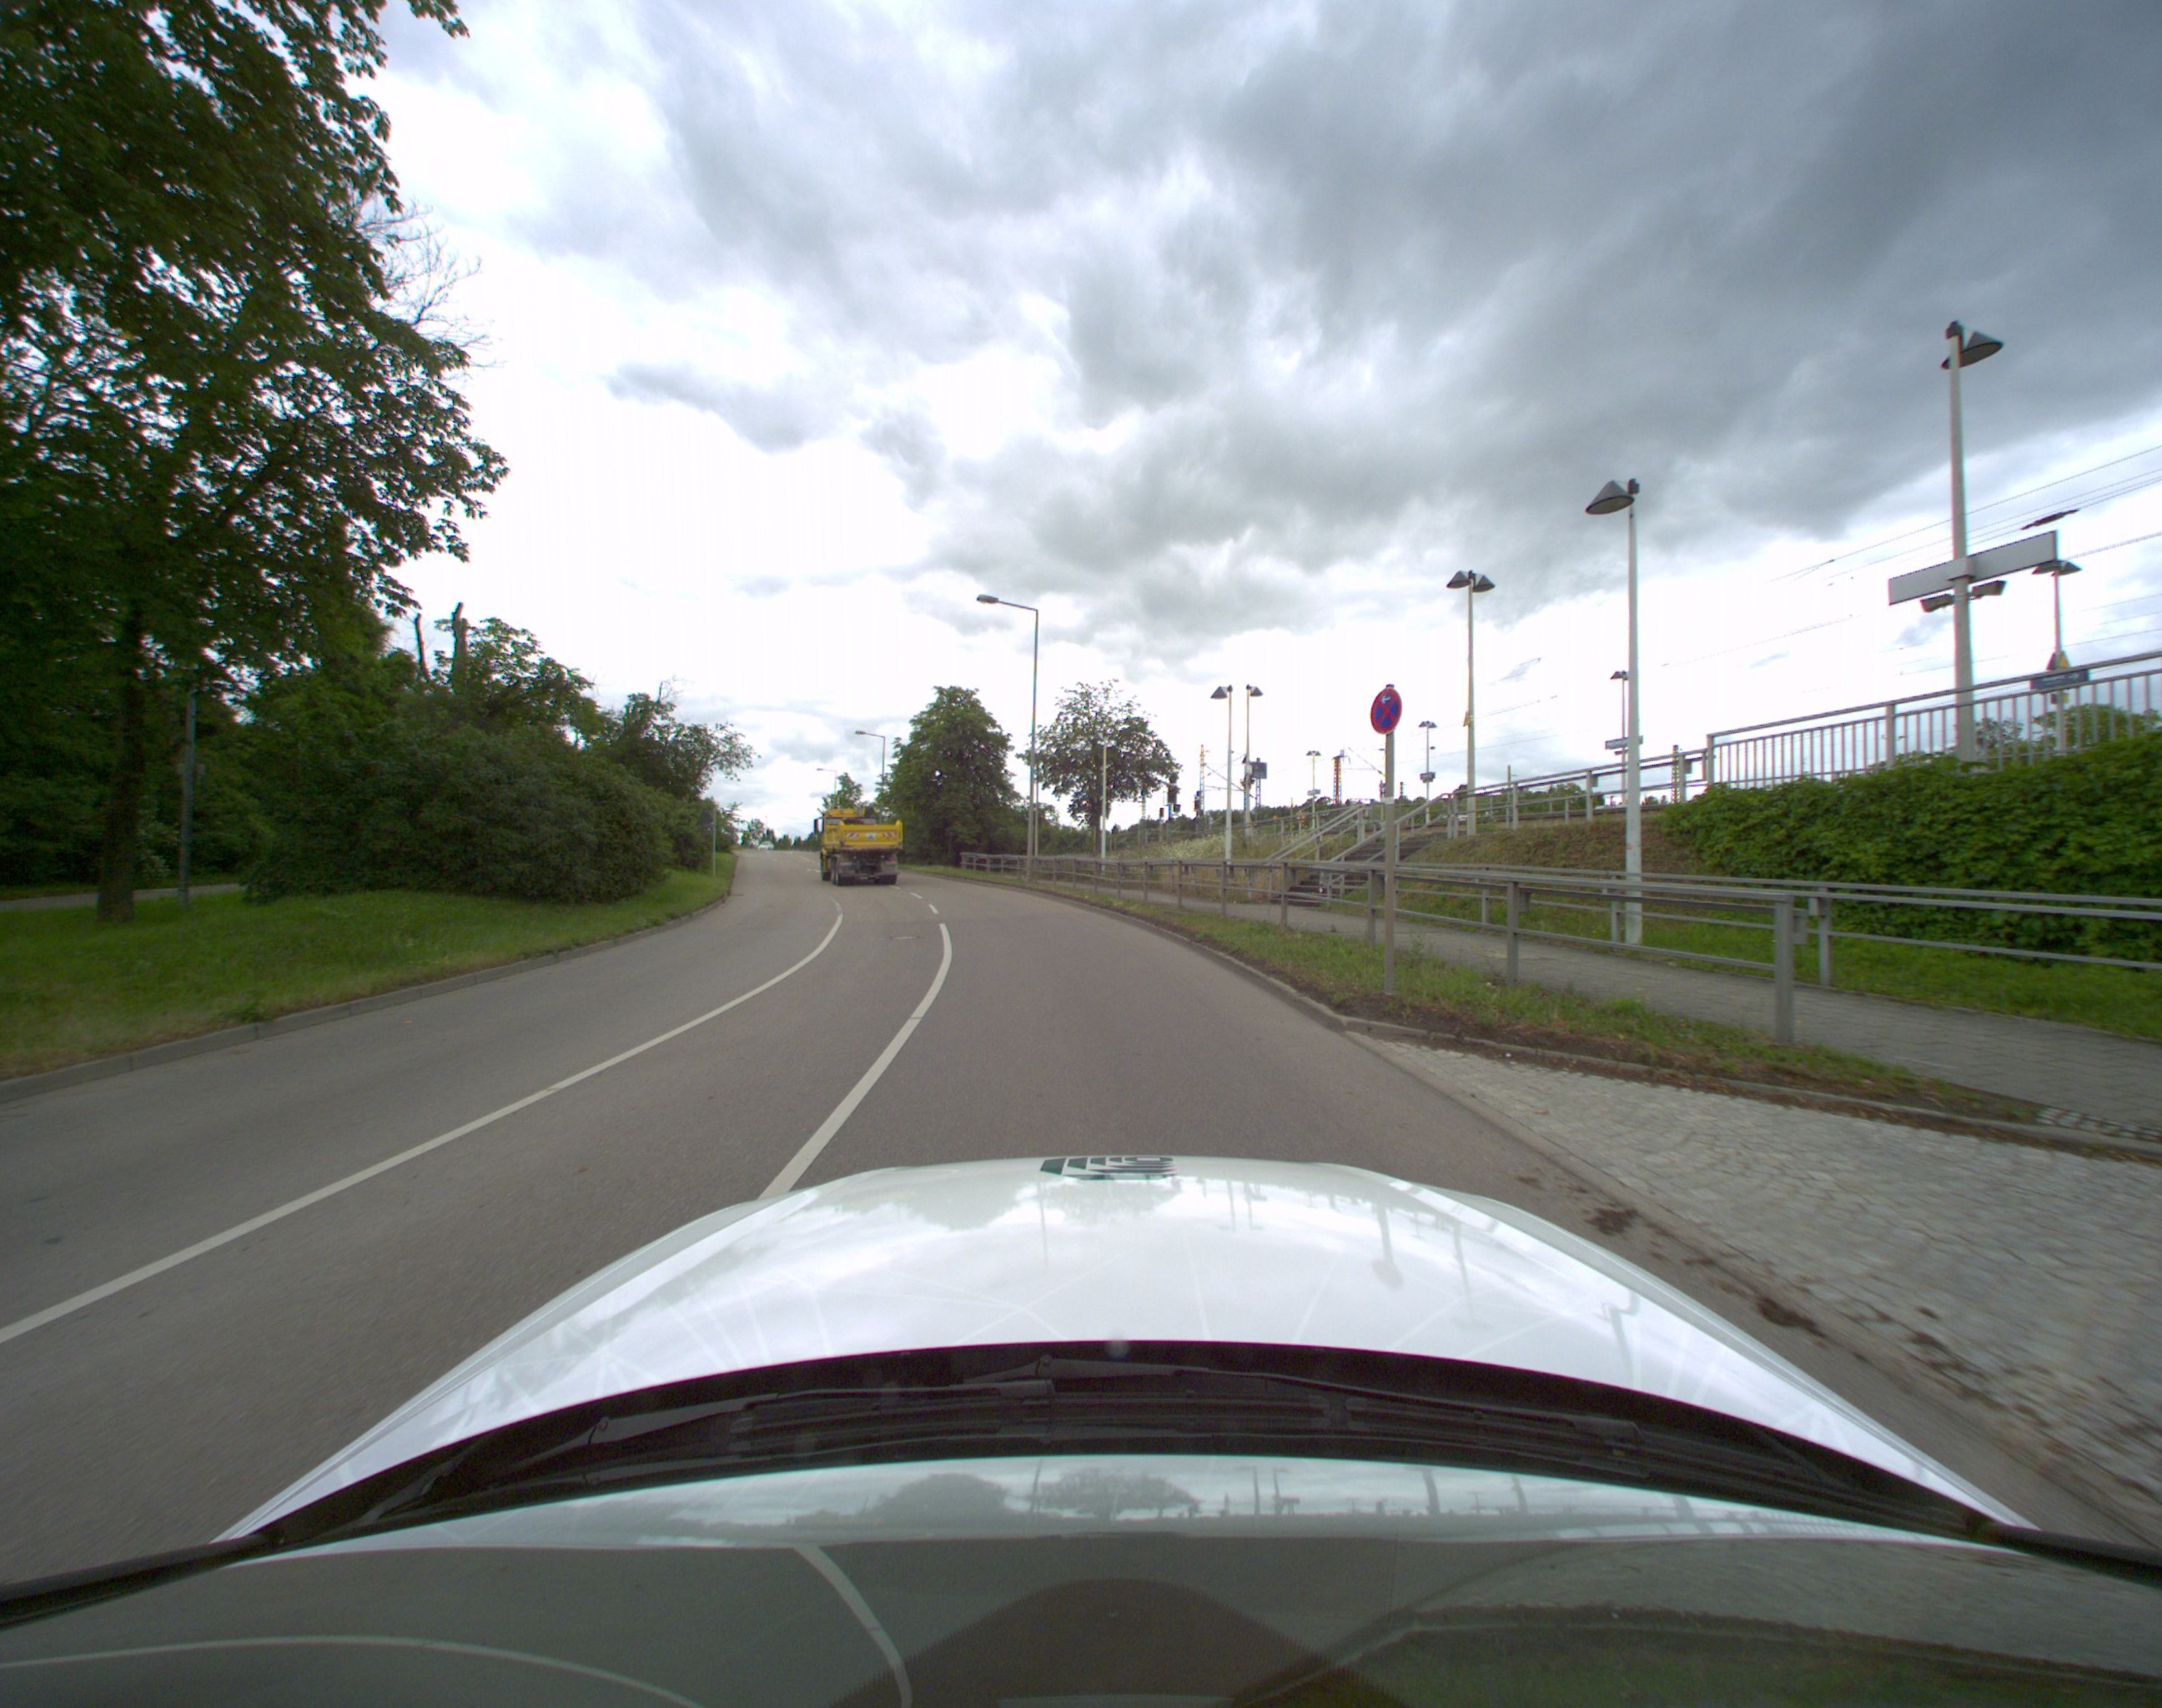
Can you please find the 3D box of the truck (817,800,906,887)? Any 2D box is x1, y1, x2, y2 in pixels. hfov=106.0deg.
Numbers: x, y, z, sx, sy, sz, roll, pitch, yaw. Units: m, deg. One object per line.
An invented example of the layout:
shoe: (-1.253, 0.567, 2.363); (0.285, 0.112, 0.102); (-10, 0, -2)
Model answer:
truck: (-10.134, -0.486, 36.948); (2.777, 3.483, 8.067); (-1, 1, -23)

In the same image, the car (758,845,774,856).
car: (-51.132, -0.571, 132.281); (1.996, 1.640, 3.981); (1, 0, -14)
